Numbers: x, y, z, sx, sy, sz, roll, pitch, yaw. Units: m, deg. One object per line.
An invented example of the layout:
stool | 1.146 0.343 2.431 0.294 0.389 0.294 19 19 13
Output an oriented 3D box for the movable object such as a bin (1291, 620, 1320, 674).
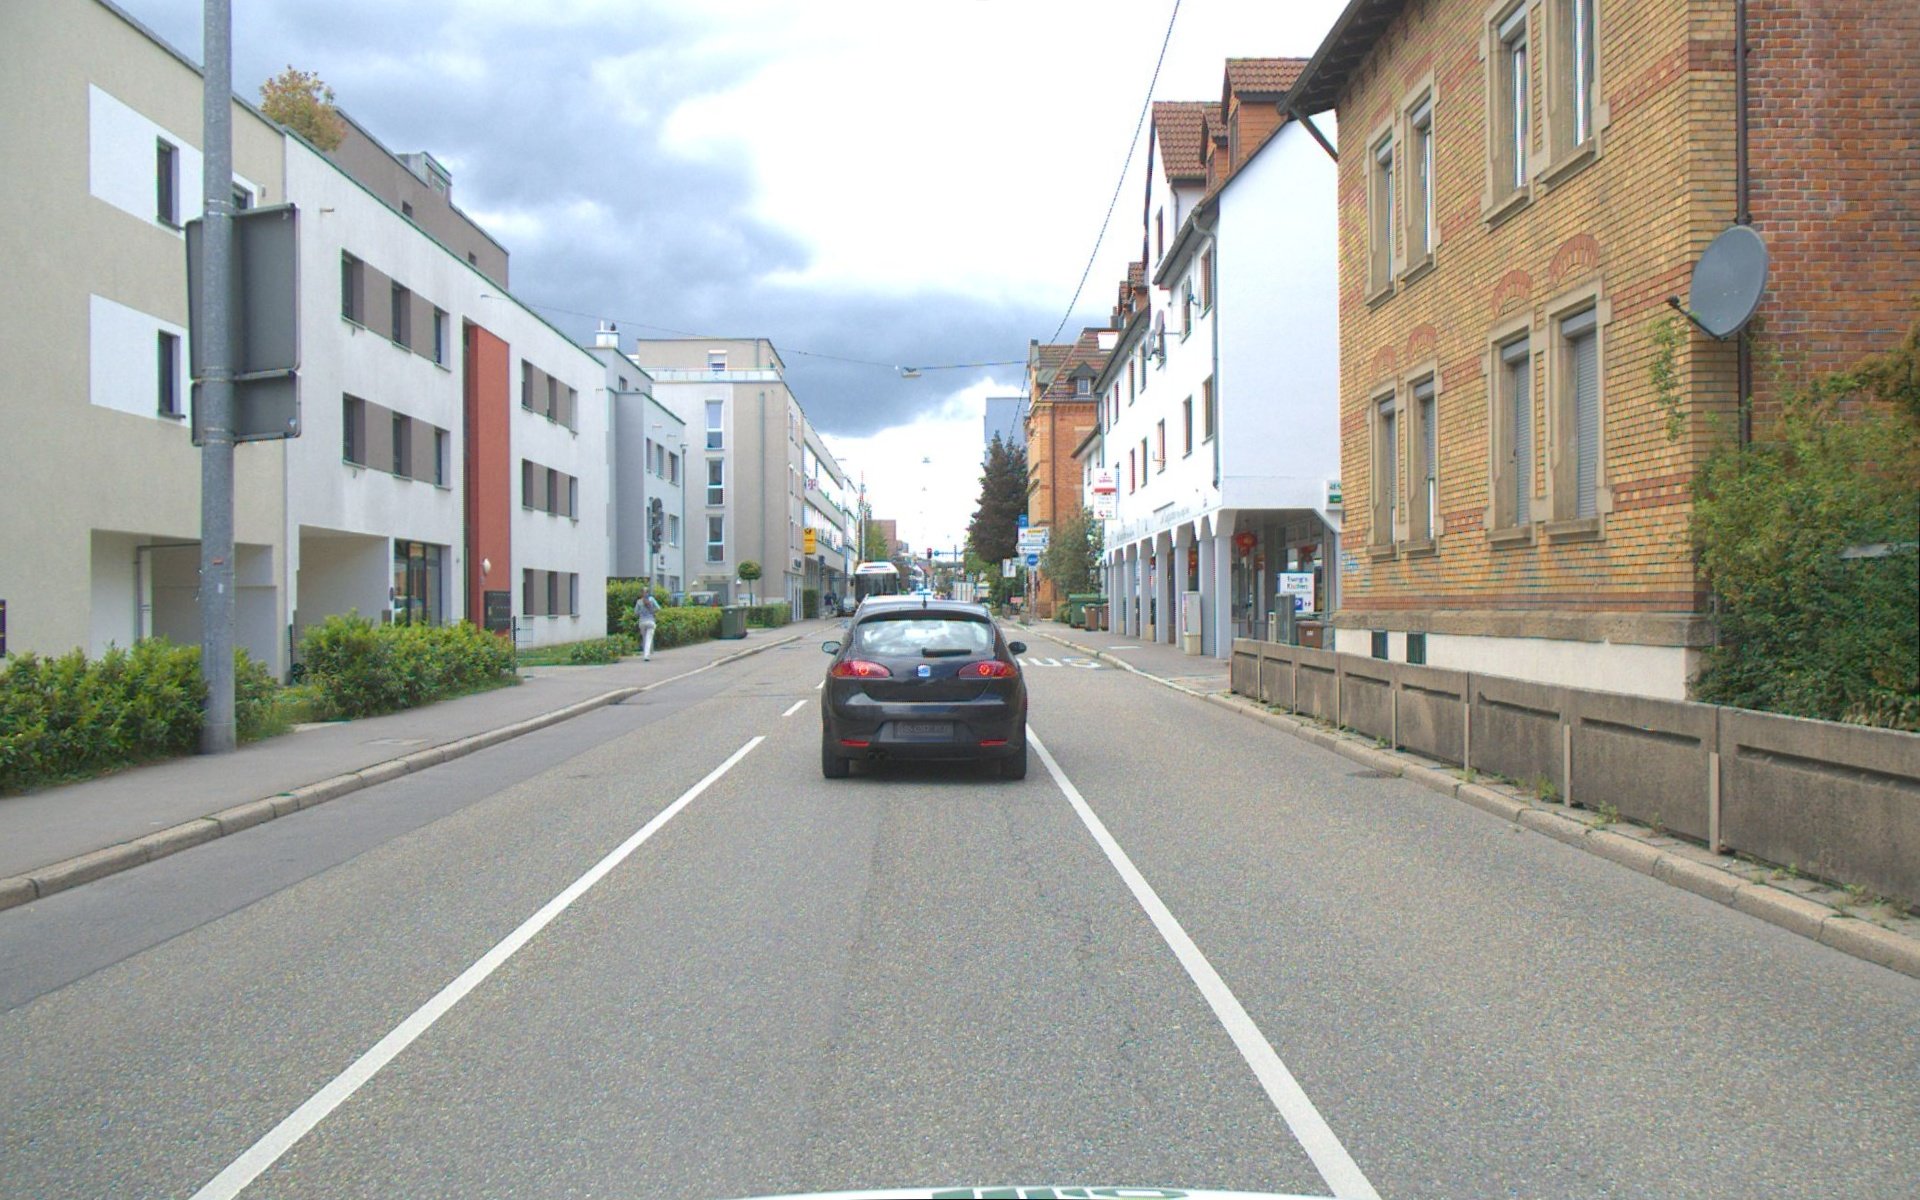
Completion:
movable object such as a bin | 6.041 0.815 28.934 0.389 0.919 0.456 -1 0 -1

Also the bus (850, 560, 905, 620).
bus | -4.935 -0.598 100.754 2.883 3.331 12.005 -2 0 -1

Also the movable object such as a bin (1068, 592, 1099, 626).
movable object such as a bin | 5.326 0.390 71.240 1.241 1.442 1.162 0 0 -1

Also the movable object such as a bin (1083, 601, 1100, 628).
movable object such as a bin | 5.356 0.587 67.319 0.669 1.086 0.972 0 0 3

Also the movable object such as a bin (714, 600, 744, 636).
movable object such as a bin | -7.719 0.600 55.289 0.937 1.171 0.839 0 0 -5

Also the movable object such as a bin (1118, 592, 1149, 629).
movable object such as a bin | 7.006 0.417 66.973 1.184 1.442 1.260 0 0 3

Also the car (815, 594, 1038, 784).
car | -0.284 0.686 14.815 1.730 1.458 3.827 0 0 -1

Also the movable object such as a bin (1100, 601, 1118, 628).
movable object such as a bin | 6.072 0.584 67.305 0.683 1.098 0.972 0 0 3

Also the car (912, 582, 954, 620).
car | -1.188 0.045 71.151 1.767 1.580 3.736 -1 0 -2

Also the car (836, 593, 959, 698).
car | -0.951 0.654 25.887 1.767 1.519 3.736 -1 0 -2

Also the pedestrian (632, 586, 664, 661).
pedestrian | -7.024 0.516 37.225 0.625 1.671 0.520 0 0 -1

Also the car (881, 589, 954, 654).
car | -1.086 0.518 42.111 1.767 1.580 3.736 -1 0 -2

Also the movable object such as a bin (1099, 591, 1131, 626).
movable object such as a bin | 6.656 0.357 71.001 1.241 1.460 1.307 0 0 -1

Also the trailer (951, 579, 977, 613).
trailer | 0.295 -0.331 135.243 1.953 2.653 5.347 -1 0 -2

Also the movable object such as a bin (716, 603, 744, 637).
movable object such as a bin | -7.557 0.657 54.441 0.877 1.108 0.792 0 0 -5
